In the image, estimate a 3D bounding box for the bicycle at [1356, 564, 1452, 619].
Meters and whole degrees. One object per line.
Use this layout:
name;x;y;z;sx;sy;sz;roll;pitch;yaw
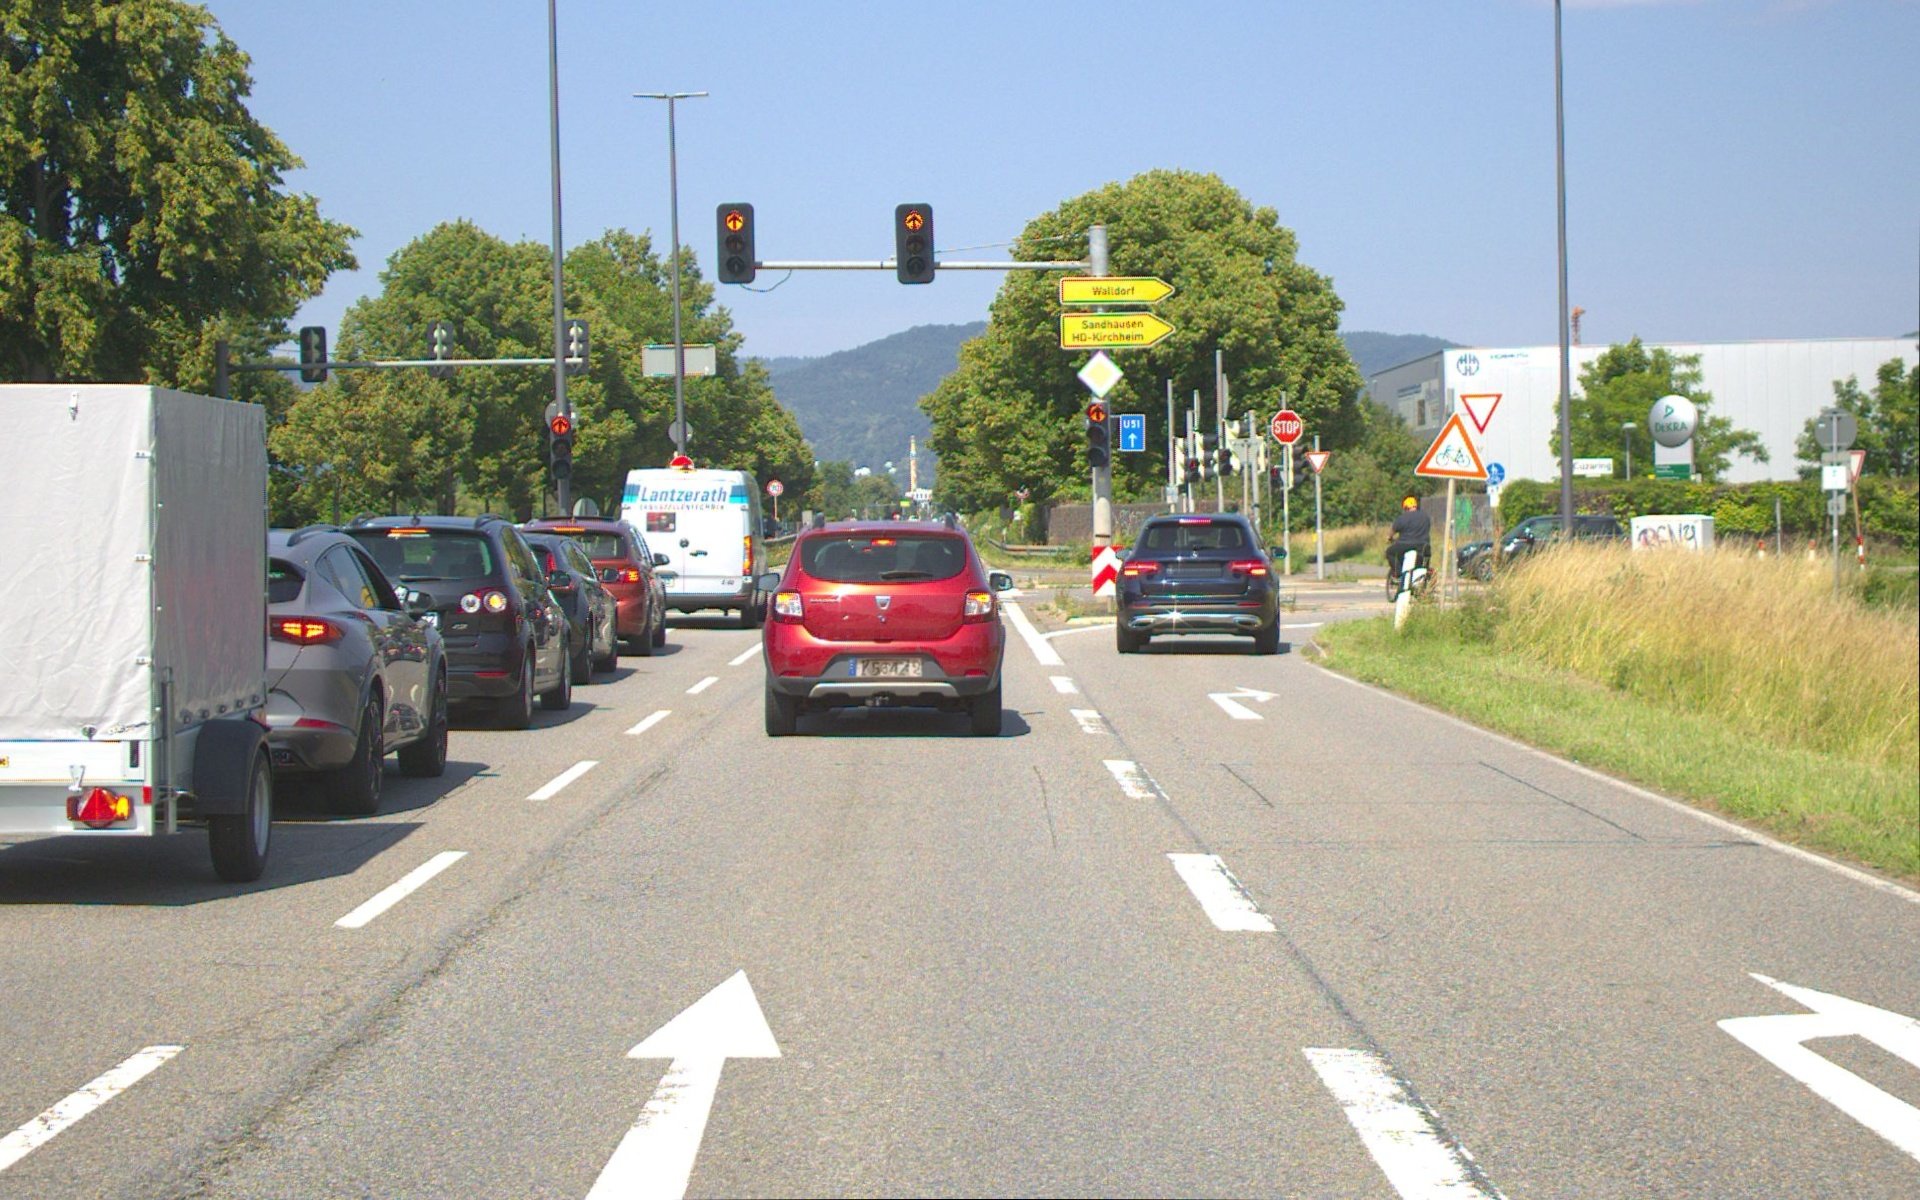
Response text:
bicycle;7.831;-0.155;60.818;0.761;0.911;2.780;-1;1;-13

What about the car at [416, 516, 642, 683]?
car;-4.178;-0.050;33.848;1.702;1.437;3.956;1;2;0

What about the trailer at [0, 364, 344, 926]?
trailer;-3.844;0.127;15.315;1.500;2.166;4.174;0;1;-1

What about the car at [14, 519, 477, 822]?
car;-3.854;0.300;19.254;1.745;1.498;4.363;0;1;-1

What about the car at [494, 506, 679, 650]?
car;-4.353;-0.293;40.518;1.724;1.594;3.956;0;1;0

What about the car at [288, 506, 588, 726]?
car;-3.953;0.073;26.590;1.723;1.570;3.893;0;1;0

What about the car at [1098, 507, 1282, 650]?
car;2.688;-0.299;41.067;1.993;1.611;4.339;0;1;1

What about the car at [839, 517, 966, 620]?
car;-0.821;-0.498;51.084;1.749;1.453;3.676;0;2;1

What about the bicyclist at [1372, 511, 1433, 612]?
bicyclist;7.810;-0.685;60.716;0.802;1.765;0.809;-2;2;-13

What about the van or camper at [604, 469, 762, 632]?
van or camper;-4.043;-0.745;50.882;2.179;2.295;4.827;0;1;-3

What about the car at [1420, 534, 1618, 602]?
car;11.682;-0.680;72.041;3.988;1.322;1.806;-1;1;7

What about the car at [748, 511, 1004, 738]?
car;-0.564;0.125;25.785;1.749;1.570;3.676;0;1;1
